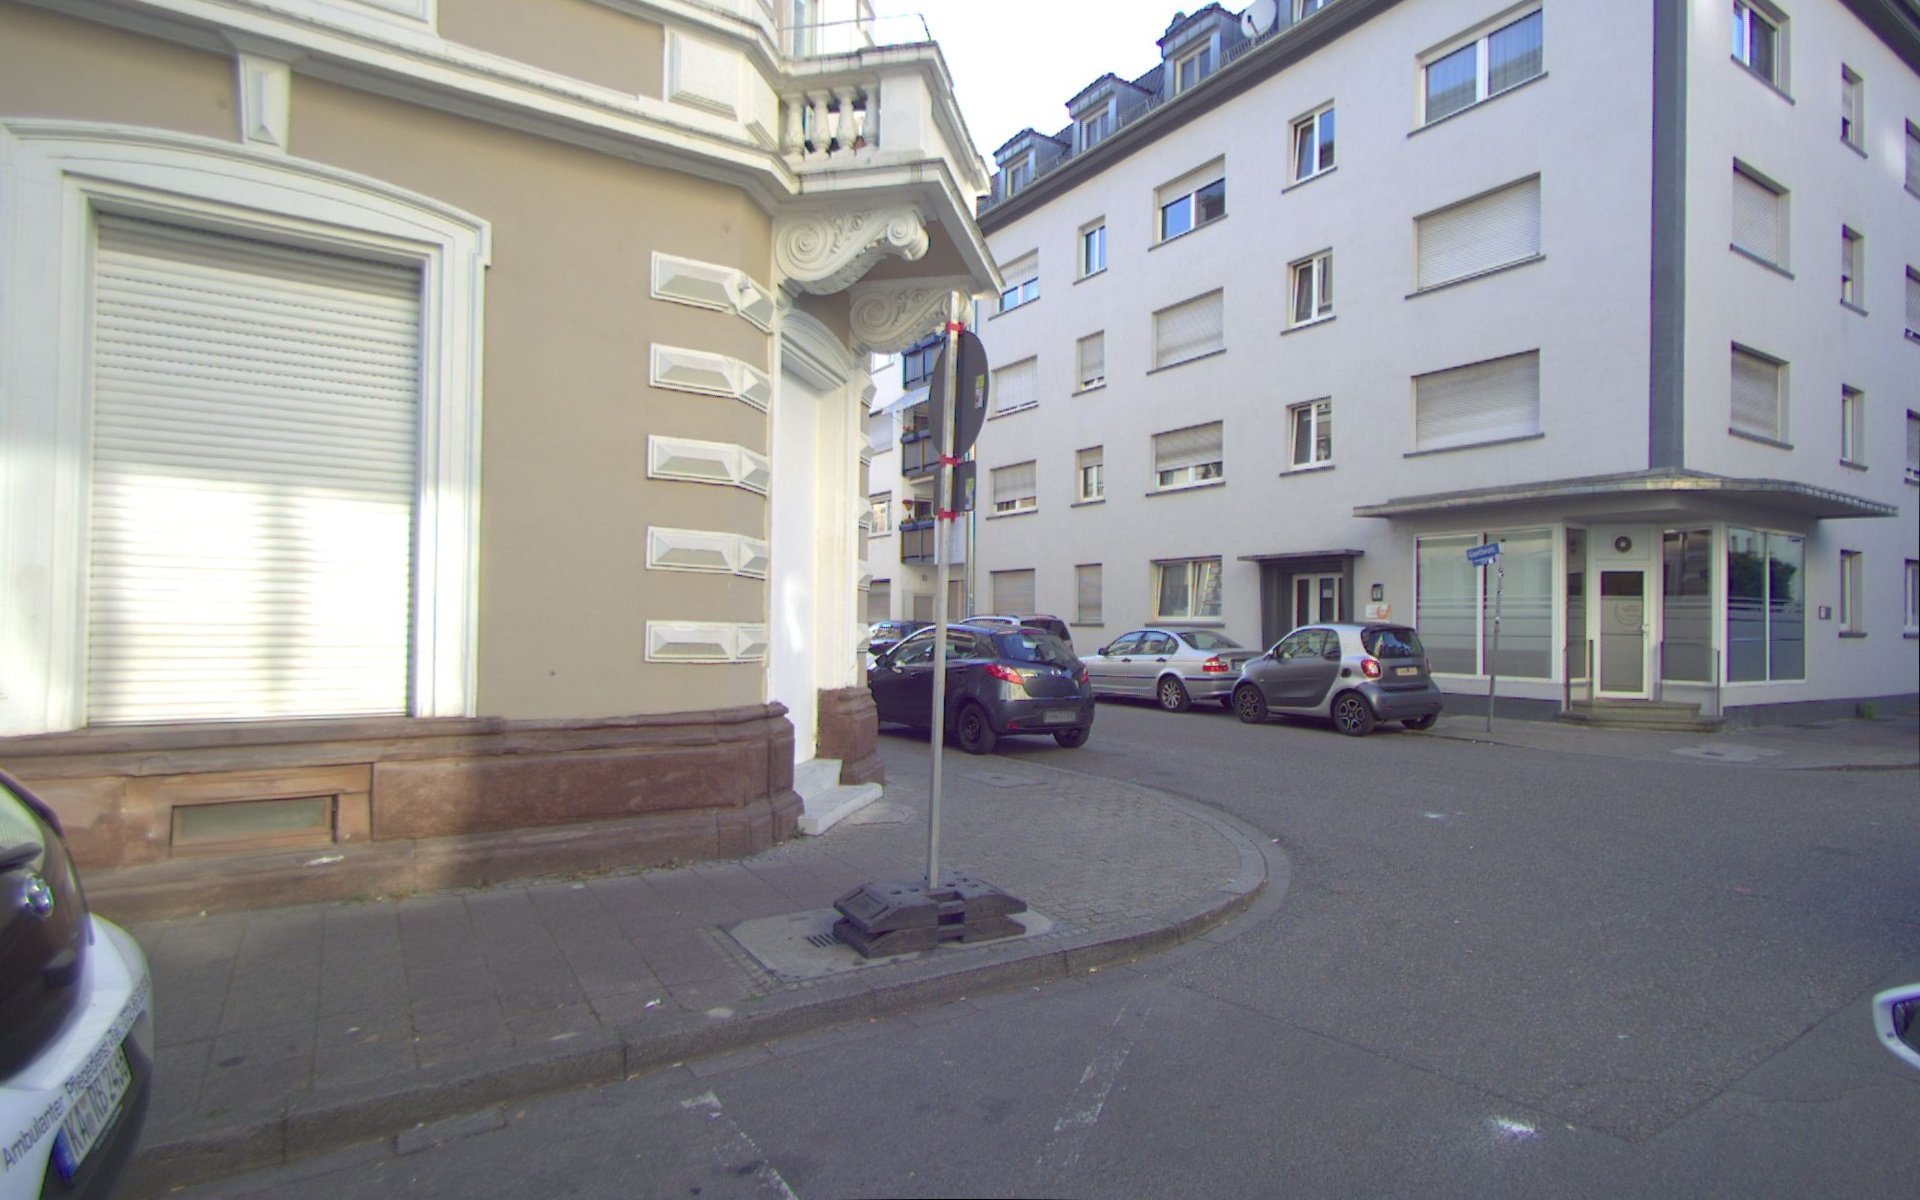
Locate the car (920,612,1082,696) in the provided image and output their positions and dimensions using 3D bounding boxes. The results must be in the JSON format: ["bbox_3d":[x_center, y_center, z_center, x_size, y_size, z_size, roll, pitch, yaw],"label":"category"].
[{"bbox_3d":[0.824,1.133,22.500,1.586,1.626,3.993,1,0,-33],"label":"car"}]

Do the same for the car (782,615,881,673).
[{"bbox_3d":[-3.938,1.289,30.276,1.586,1.560,3.470,1,0,-33],"label":"car"}]

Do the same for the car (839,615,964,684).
[{"bbox_3d":[-1.590,1.242,26.297,1.587,1.560,3.685,1,0,-34],"label":"car"}]

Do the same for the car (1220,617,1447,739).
[{"bbox_3d":[5.477,1.074,14.952,1.576,1.560,2.771,1,0,-31],"label":"car"}]

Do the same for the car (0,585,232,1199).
[{"bbox_3d":[-3.424,0.763,0.969,4.218,1.527,1.911,1,-3,-31],"label":"car"}]

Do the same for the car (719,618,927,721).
[{"bbox_3d":[-2.433,1.059,16.842,1.884,1.481,4.286,1,-1,-32],"label":"car"}]

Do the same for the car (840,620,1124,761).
[{"bbox_3d":[0.139,1.002,12.576,1.713,1.470,3.639,1,-1,-36],"label":"car"}]

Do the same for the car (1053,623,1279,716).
[{"bbox_3d":[3.634,1.184,18.426,1.586,1.422,4.179,2,-1,-33],"label":"car"}]
